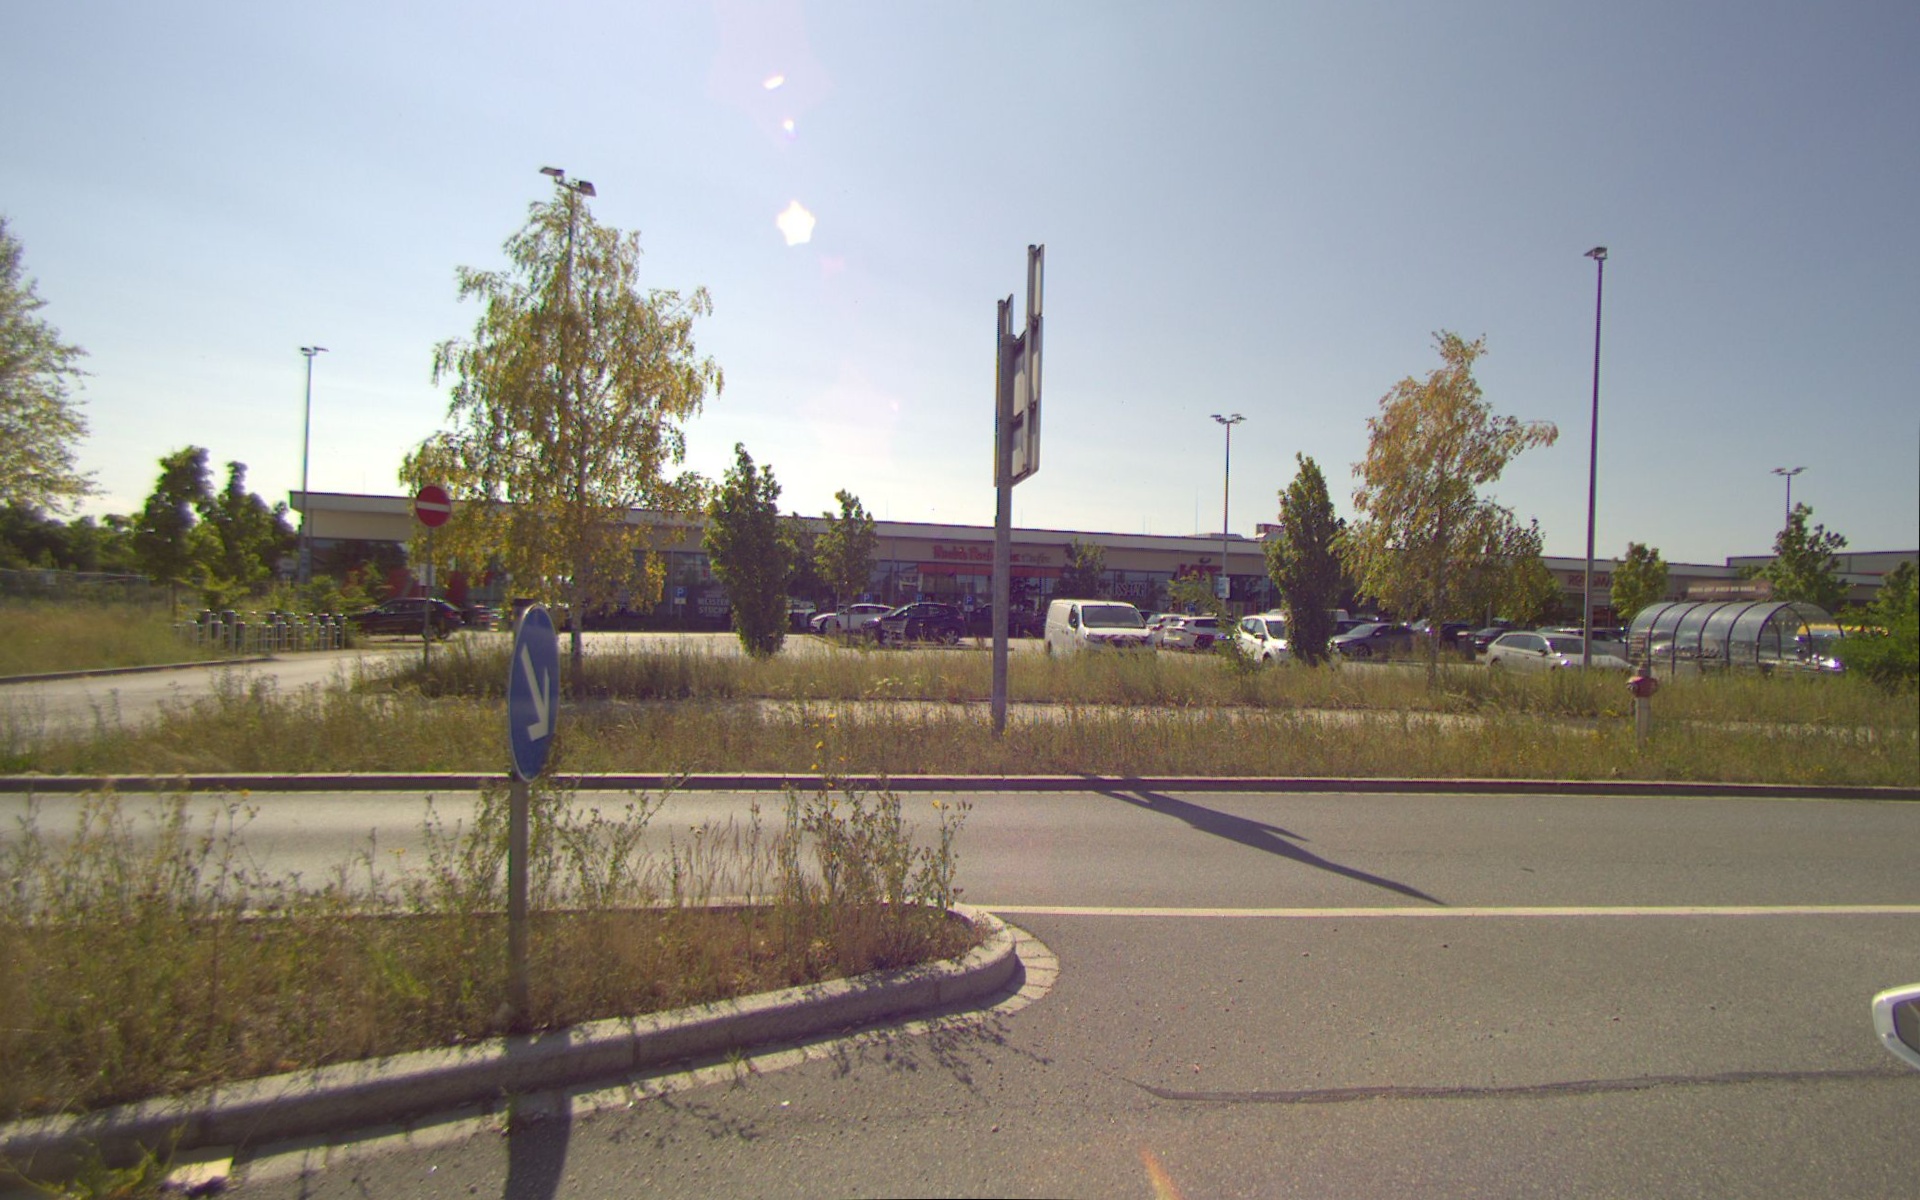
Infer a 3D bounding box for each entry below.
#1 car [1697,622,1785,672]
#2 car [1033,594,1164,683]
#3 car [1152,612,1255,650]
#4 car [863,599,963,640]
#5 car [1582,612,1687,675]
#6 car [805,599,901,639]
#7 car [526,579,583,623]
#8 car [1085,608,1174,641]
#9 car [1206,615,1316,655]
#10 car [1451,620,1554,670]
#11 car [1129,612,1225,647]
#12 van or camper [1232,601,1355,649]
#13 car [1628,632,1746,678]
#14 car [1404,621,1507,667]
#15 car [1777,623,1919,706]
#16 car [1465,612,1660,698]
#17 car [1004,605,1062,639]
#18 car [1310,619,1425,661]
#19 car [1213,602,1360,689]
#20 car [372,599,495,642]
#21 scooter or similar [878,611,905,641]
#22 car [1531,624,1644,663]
[{"bbox_3d":[47.764,2.853,61.453,4.410,2.859,1.994,2,-1,-15],"label":"car"},{"bbox_3d":[3.452,0.924,26.223,2.049,2.040,5.222,2,0,-7],"label":"car"},{"bbox_3d":[9.839,1.260,40.592,3.674,1.409,1.725,2,0,-19],"label":"car"},{"bbox_3d":[-1.902,0.784,40.305,3.743,1.529,1.726,2,0,-15],"label":"car"},{"bbox_3d":[32.523,2.076,48.432,4.419,2.859,1.990,2,-1,-21],"label":"car"},{"bbox_3d":[-5.200,0.903,48.450,4.408,1.728,1.870,2,-1,-12],"label":"car"},{"bbox_3d":[-19.913,0.044,49.566,2.195,2.003,6.667,1,0,-19],"label":"car"},{"bbox_3d":[7.785,1.130,46.163,3.674,1.409,1.725,2,0,-19],"label":"car"},{"bbox_3d":[11.467,1.314,38.313,3.674,1.409,1.725,2,0,-19],"label":"car"},{"bbox_3d":[26.300,2.182,48.705,4.419,2.220,1.990,2,-1,-21],"label":"car"},{"bbox_3d":[9.409,1.282,43.605,3.674,1.409,1.725,2,0,-19],"label":"car"},{"bbox_3d":[15.129,1.137,45.629,4.965,2.040,1.995,2,0,-13],"label":"van or camper"},{"bbox_3d":[33.013,2.477,45.649,4.410,1.888,1.994,2,-1,-15],"label":"car"},{"bbox_3d":[25.475,2.254,51.694,4.405,2.130,1.996,2,-1,-11],"label":"car"},{"bbox_3d":[25.798,1.741,27.885,2.121,2.040,5.117,2,0,2],"label":"car"},{"bbox_3d":[16.218,1.397,27.441,2.122,2.040,5.115,2,0,-1],"label":"car"},{"bbox_3d":[4.001,1.213,55.840,1.967,1.730,3.986,2,0,-16],"label":"car"},{"bbox_3d":[16.336,1.601,40.354,3.932,1.528,1.870,2,-1,-14],"label":"car"},{"bbox_3d":[8.551,1.118,26.861,2.122,2.040,5.115,2,0,-1],"label":"car"},{"bbox_3d":[-19.640,0.769,37.621,3.786,1.442,1.764,2,-1,-19],"label":"car"},{"bbox_3d":[-2.636,0.984,38.385,0.929,1.094,0.651,2,0,-11],"label":"scooter or similar"},{"bbox_3d":[27.380,1.906,43.828,4.276,1.540,1.651,2,-1,-14],"label":"car"}]
